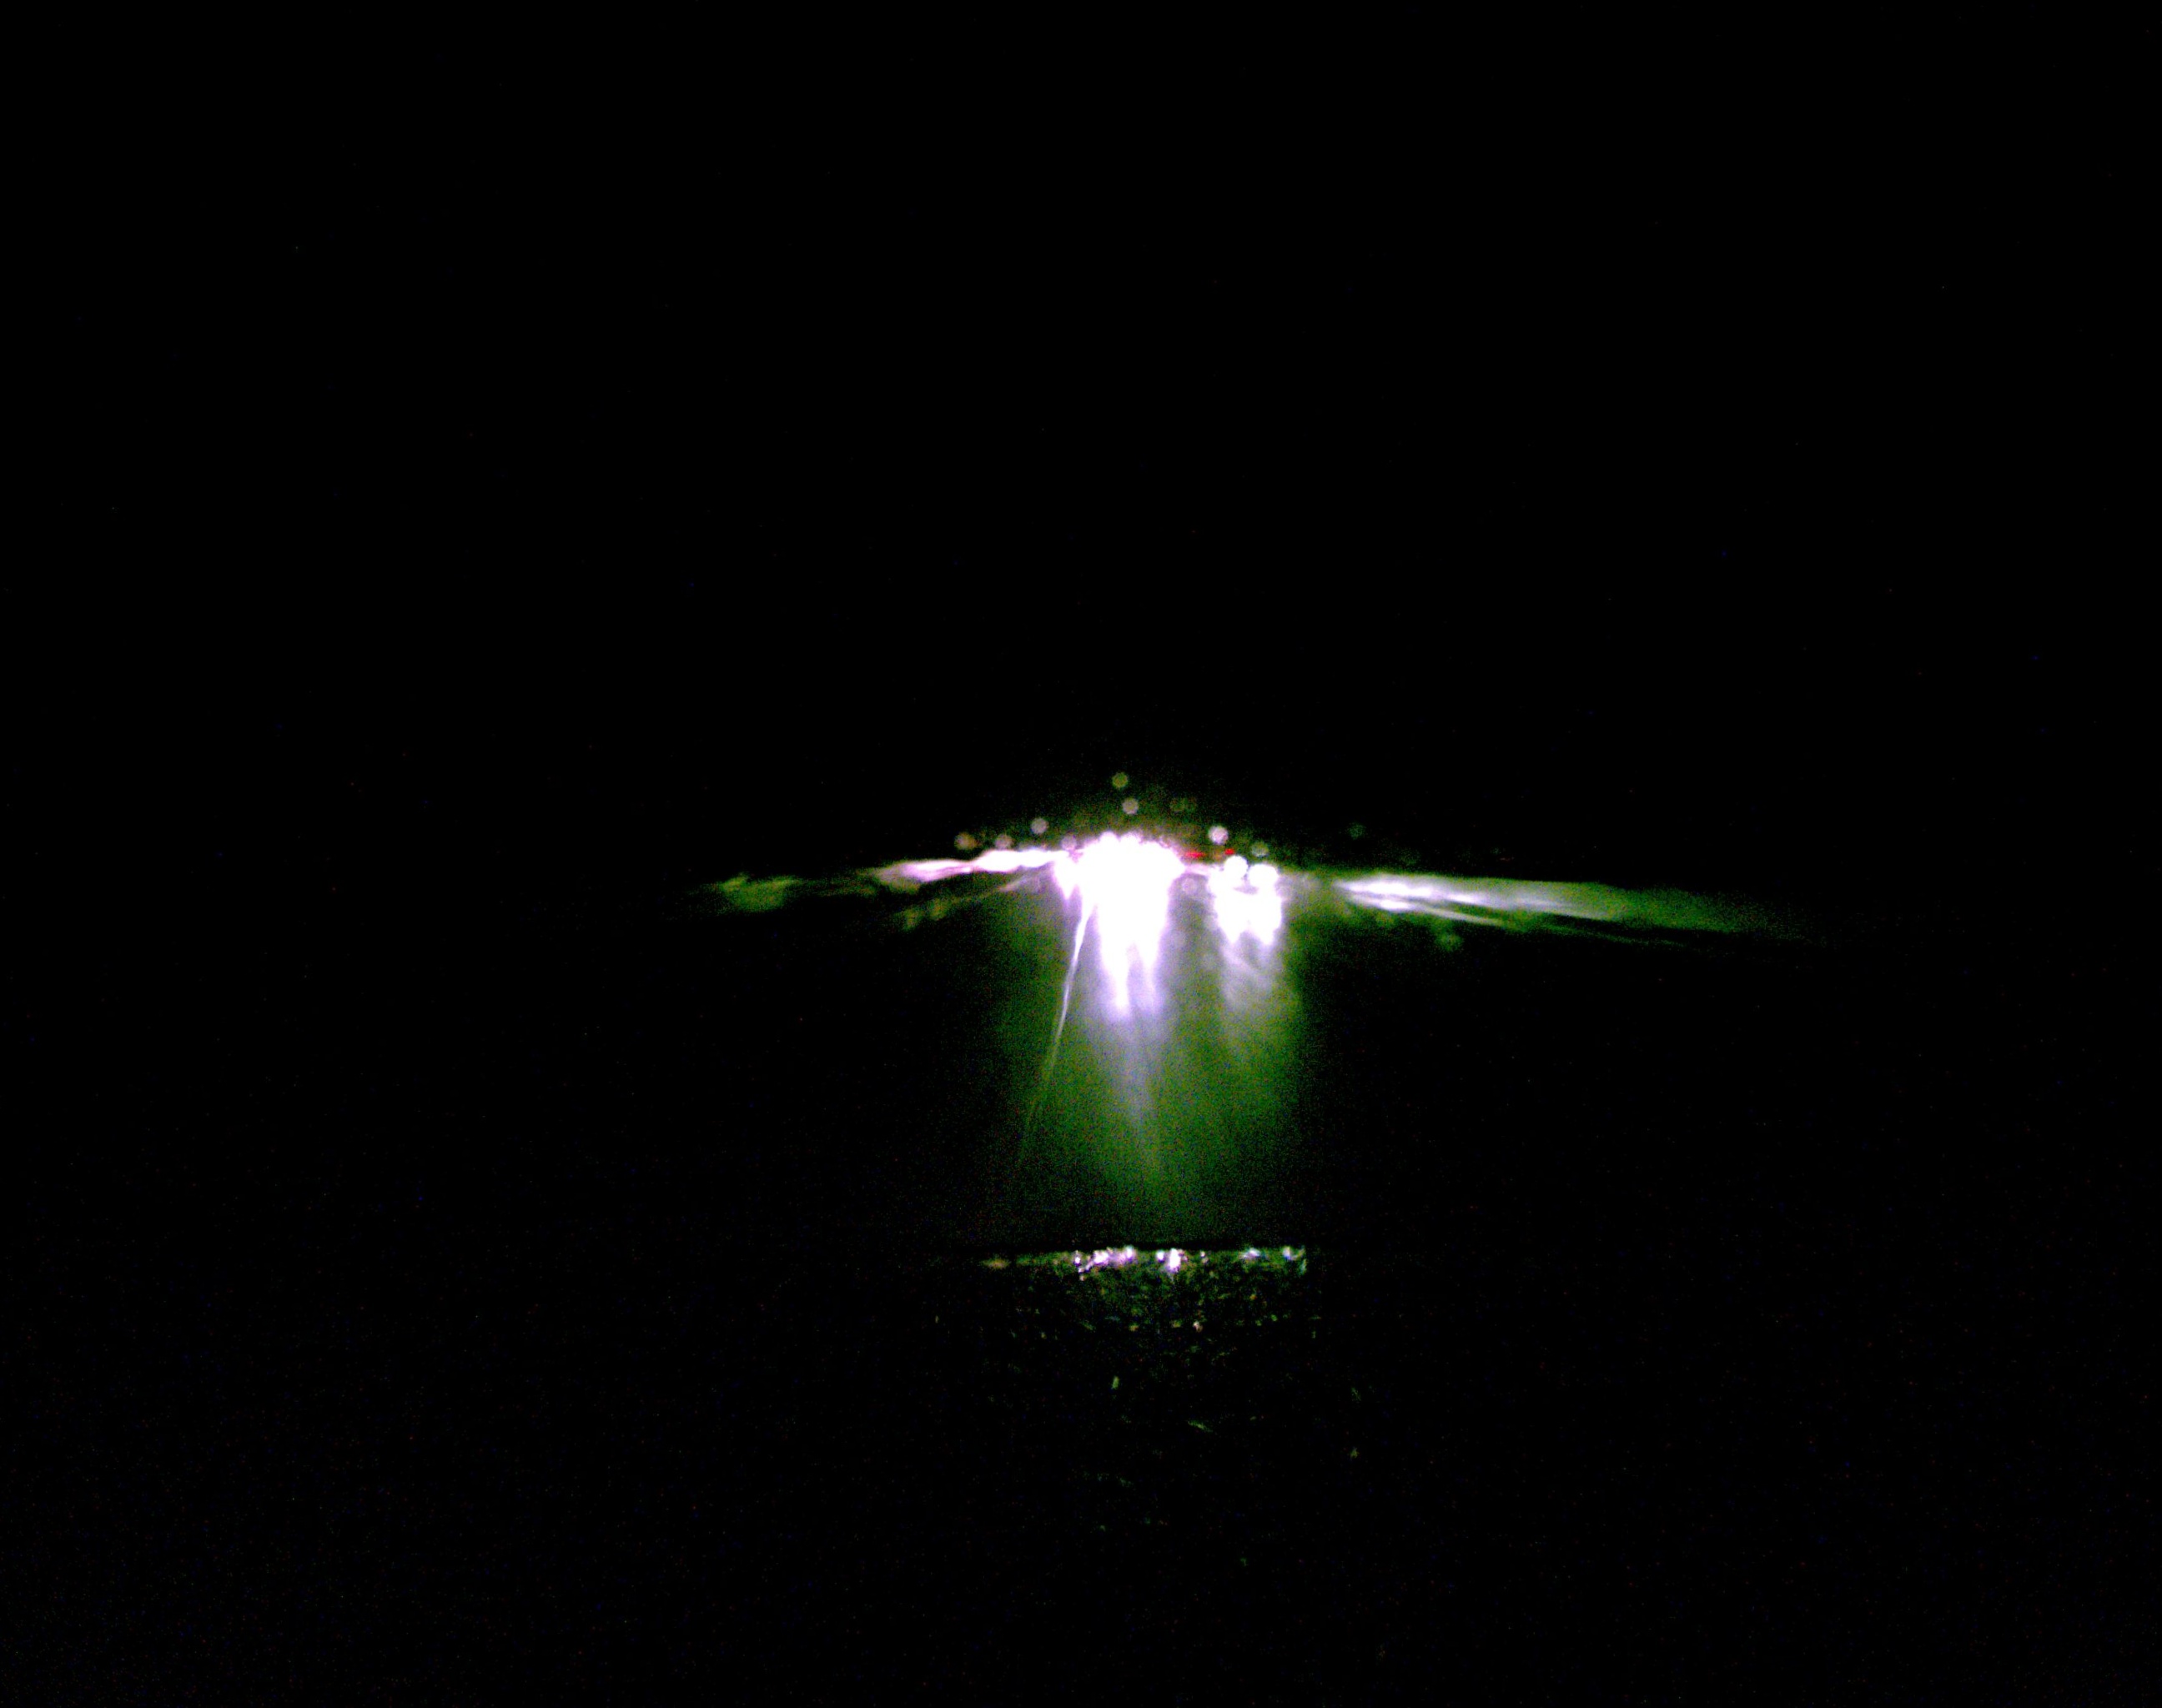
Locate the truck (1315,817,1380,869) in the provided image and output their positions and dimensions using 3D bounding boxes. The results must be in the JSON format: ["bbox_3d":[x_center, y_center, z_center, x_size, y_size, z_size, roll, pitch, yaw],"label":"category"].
[{"bbox_3d":[24.713,-1.019,70.834,4.177,4.598,5.846,1,1,2],"label":"truck"}]

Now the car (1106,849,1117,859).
[{"bbox_3d":[5.850,0.030,146.405,1.998,1.745,4.000,-1,1,3],"label":"car"}]

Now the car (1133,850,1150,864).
[{"bbox_3d":[8.040,0.343,101.594,1.998,1.745,3.999,-1,1,1],"label":"car"}]

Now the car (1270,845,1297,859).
[{"bbox_3d":[19.838,-0.241,74.612,1.646,1.281,3.409,1,1,-1],"label":"car"}]

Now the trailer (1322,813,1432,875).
[{"bbox_3d":[24.448,-0.873,64.038,4.177,4.598,13.957,1,1,2],"label":"trailer"}]

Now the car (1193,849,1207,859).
[{"bbox_3d":[22.080,-0.041,140.788,1.838,1.652,3.999,-1,1,0],"label":"car"}]

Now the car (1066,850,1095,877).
[{"bbox_3d":[-0.017,0.688,58.978,1.998,2.002,4.000,1,1,4],"label":"car"}]

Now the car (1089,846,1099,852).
[{"bbox_3d":[2.809,-1.129,165.163,1.998,1.149,4.000,1,1,4],"label":"car"}]

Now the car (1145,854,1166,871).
[{"bbox_3d":[7.984,0.904,81.504,1.998,1.667,4.000,1,1,3],"label":"car"}]

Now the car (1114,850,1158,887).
[{"bbox_3d":[2.753,0.652,37.133,1.997,1.667,4.001,1,1,6],"label":"car"}]

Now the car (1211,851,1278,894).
[{"bbox_3d":[6.809,0.723,32.065,2.309,1.600,3.872,1,1,5],"label":"car"}]

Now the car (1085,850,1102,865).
[{"bbox_3d":[1.655,0.421,97.547,1.998,1.745,4.000,-1,1,3],"label":"car"}]

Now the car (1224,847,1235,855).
[{"bbox_3d":[31.195,-0.611,159.613,1.712,1.456,3.999,-2,1,1],"label":"car"}]

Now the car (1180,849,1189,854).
[{"bbox_3d":[29.750,-0.657,218.305,1.965,1.456,3.999,-1,1,0],"label":"car"}]

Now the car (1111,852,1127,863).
[{"bbox_3d":[4.276,0.335,84.327,1.692,1.150,3.421,1,1,4],"label":"car"}]
